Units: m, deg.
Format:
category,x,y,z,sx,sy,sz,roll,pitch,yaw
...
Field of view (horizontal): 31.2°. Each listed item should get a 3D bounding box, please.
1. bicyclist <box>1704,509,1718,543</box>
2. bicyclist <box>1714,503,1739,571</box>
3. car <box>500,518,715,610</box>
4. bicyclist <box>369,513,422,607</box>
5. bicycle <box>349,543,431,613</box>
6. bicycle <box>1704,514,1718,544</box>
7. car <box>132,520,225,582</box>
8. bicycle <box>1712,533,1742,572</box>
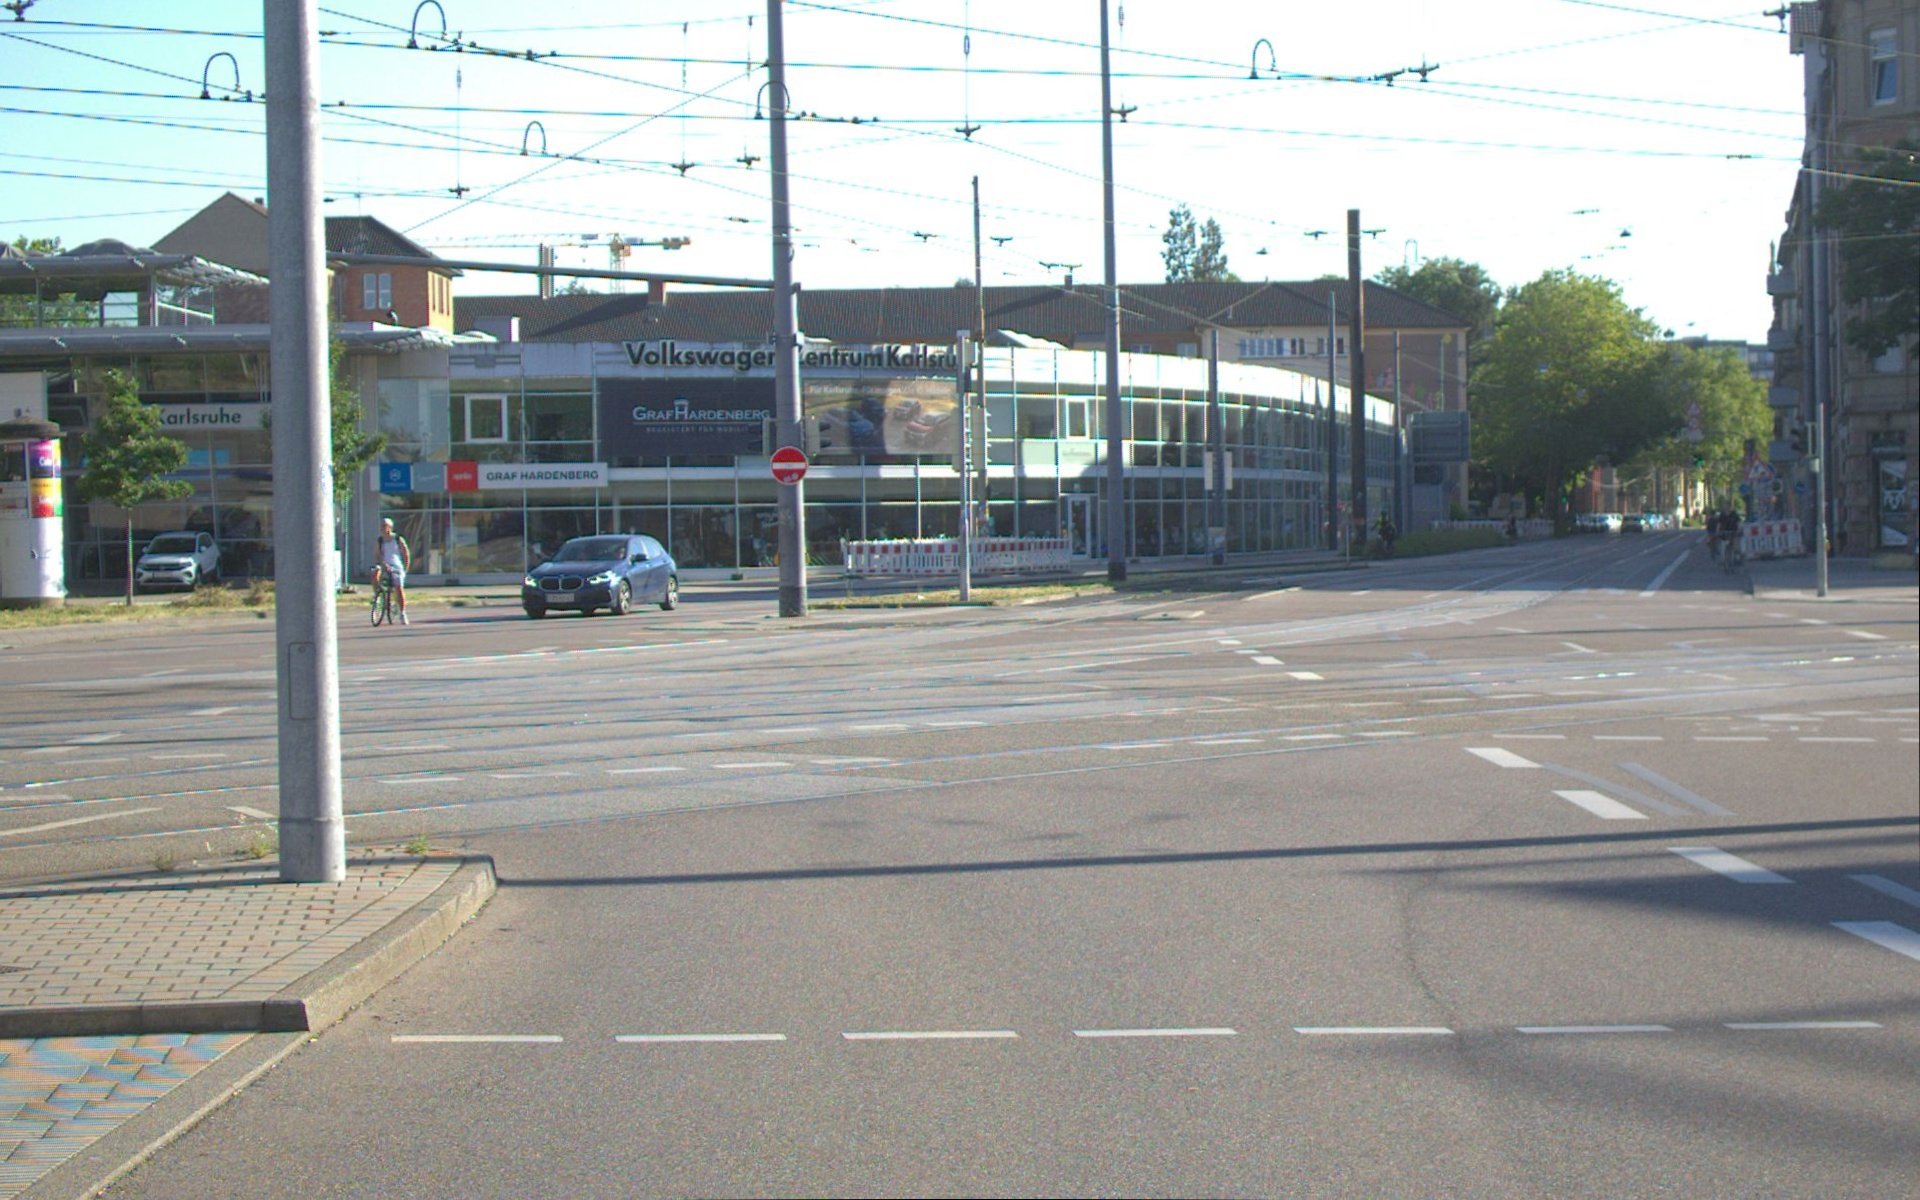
category,x,y,z,sx,sy,sz,roll,pitch,yaw
bicyclist,24.463,-2.406,112.031,0.408,1.112,0.399,1,0,11
bicyclist,19.286,-1.576,86.522,0.518,1.695,0.516,1,0,3
car,-6.288,-0.633,61.750,1.996,1.579,3.994,1,1,27
bicyclist,-9.817,-0.691,59.774,0.598,1.610,0.822,1,0,17
bicycle,-9.872,-0.387,59.627,0.613,1.185,1.867,1,1,17
bicycle,24.513,-2.315,112.226,0.410,0.938,1.844,1,1,12
car,-22.541,-1.404,99.324,1.993,1.744,4.001,1,1,-4
bicycle,19.331,-1.196,86.626,0.658,0.949,1.599,1,1,15
